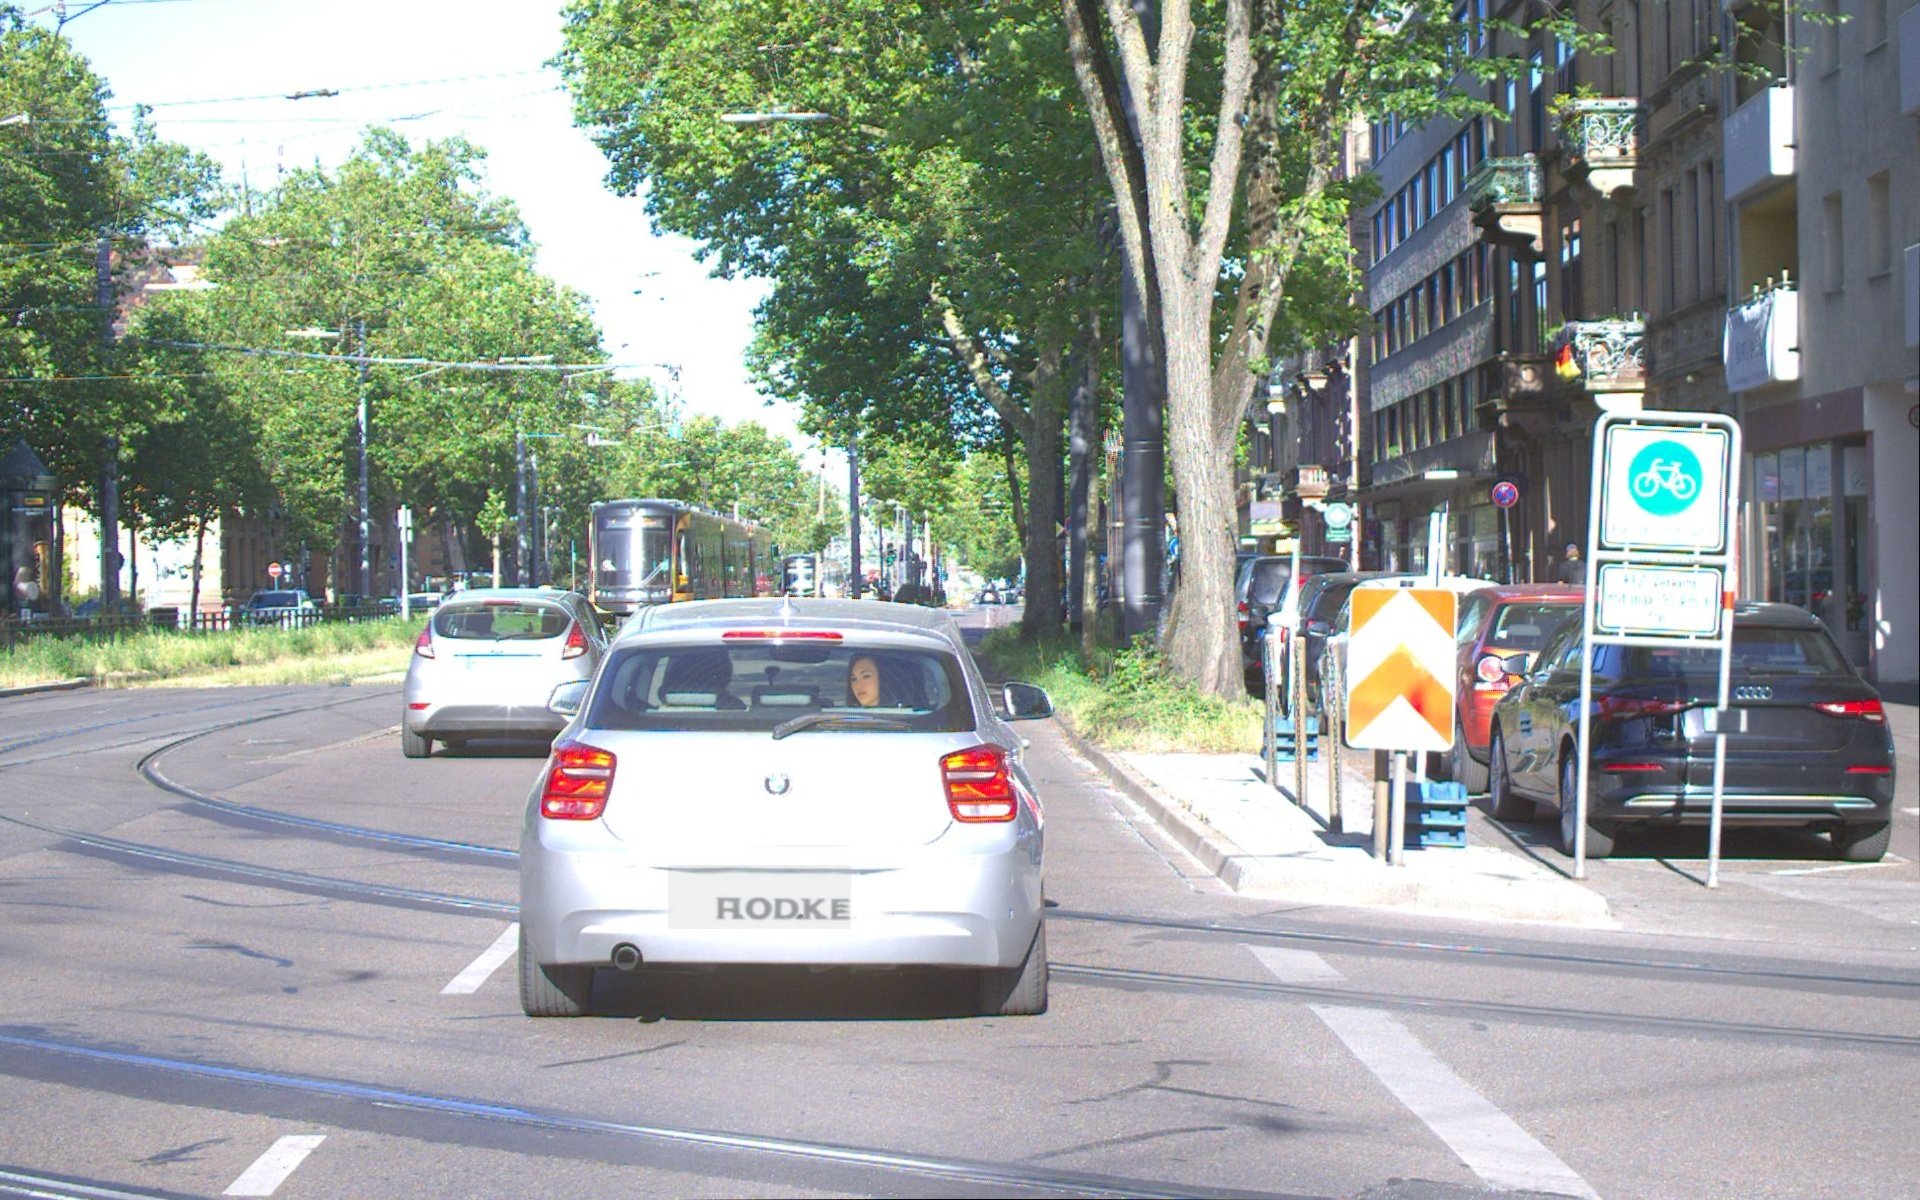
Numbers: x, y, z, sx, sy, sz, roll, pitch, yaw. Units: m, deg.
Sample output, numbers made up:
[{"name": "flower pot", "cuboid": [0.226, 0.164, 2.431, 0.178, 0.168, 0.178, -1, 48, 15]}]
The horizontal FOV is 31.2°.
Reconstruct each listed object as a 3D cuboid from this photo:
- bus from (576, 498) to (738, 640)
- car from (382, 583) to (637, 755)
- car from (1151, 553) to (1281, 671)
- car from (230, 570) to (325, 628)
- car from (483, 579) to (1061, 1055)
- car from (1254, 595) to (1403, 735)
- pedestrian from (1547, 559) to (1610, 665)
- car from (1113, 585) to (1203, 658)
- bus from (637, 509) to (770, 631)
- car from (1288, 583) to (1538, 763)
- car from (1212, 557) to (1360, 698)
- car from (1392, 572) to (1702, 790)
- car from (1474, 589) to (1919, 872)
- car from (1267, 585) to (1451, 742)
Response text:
[{"name": "bus", "cuboid": [-7.814, -0.823, 90.333, 2.869, 3.432, 13.216, 0, 1, 1]}, {"name": "car", "cuboid": [-3.897, 0.560, 30.247, 1.647, 1.358, 3.759, 2, 0, 1]}, {"name": "car", "cuboid": [4.169, 0.170, 56.631, 1.865, 1.809, 4.799, 2, 0, 2]}, {"name": "car", "cuboid": [-20.185, -0.041, 101.823, 1.885, 1.614, 4.598, 2, 0, 0]}, {"name": "car", "cuboid": [-0.591, 0.666, 12.740, 1.762, 1.427, 4.000, 2, 0, 0]}, {"name": "car", "cuboid": [4.211, 0.716, 39.618, 1.512, 1.475, 3.491, 2, 0, 4]}, {"name": "pedestrian", "cuboid": [10.771, 0.202, 59.887, 0.999, 1.834, 0.715, 0, 0, 3]}, {"name": "car", "cuboid": [4.306, 0.468, 75.433, 1.806, 1.485, 4.919, 2, 0, 2]}, {"name": "bus", "cuboid": [-7.561, -0.912, 103.006, 2.869, 3.432, 12.214, 0, 1, 1]}, {"name": "car", "cuboid": [4.025, 0.609, 31.059, 1.626, 1.472, 3.698, 2, 0, -2]}, {"name": "car", "cuboid": [4.095, 0.321, 43.657, 1.625, 1.662, 4.141, 2, 0, 3]}, {"name": "car", "cuboid": [4.227, 0.538, 25.273, 1.589, 1.429, 3.905, 2, 0, 0]}, {"name": "car", "cuboid": [4.191, 0.679, 20.158, 1.696, 1.416, 4.169, 2, 0, 0]}, {"name": "car", "cuboid": [4.067, 0.611, 35.465, 1.561, 1.480, 3.786, 2, 0, 2]}]
